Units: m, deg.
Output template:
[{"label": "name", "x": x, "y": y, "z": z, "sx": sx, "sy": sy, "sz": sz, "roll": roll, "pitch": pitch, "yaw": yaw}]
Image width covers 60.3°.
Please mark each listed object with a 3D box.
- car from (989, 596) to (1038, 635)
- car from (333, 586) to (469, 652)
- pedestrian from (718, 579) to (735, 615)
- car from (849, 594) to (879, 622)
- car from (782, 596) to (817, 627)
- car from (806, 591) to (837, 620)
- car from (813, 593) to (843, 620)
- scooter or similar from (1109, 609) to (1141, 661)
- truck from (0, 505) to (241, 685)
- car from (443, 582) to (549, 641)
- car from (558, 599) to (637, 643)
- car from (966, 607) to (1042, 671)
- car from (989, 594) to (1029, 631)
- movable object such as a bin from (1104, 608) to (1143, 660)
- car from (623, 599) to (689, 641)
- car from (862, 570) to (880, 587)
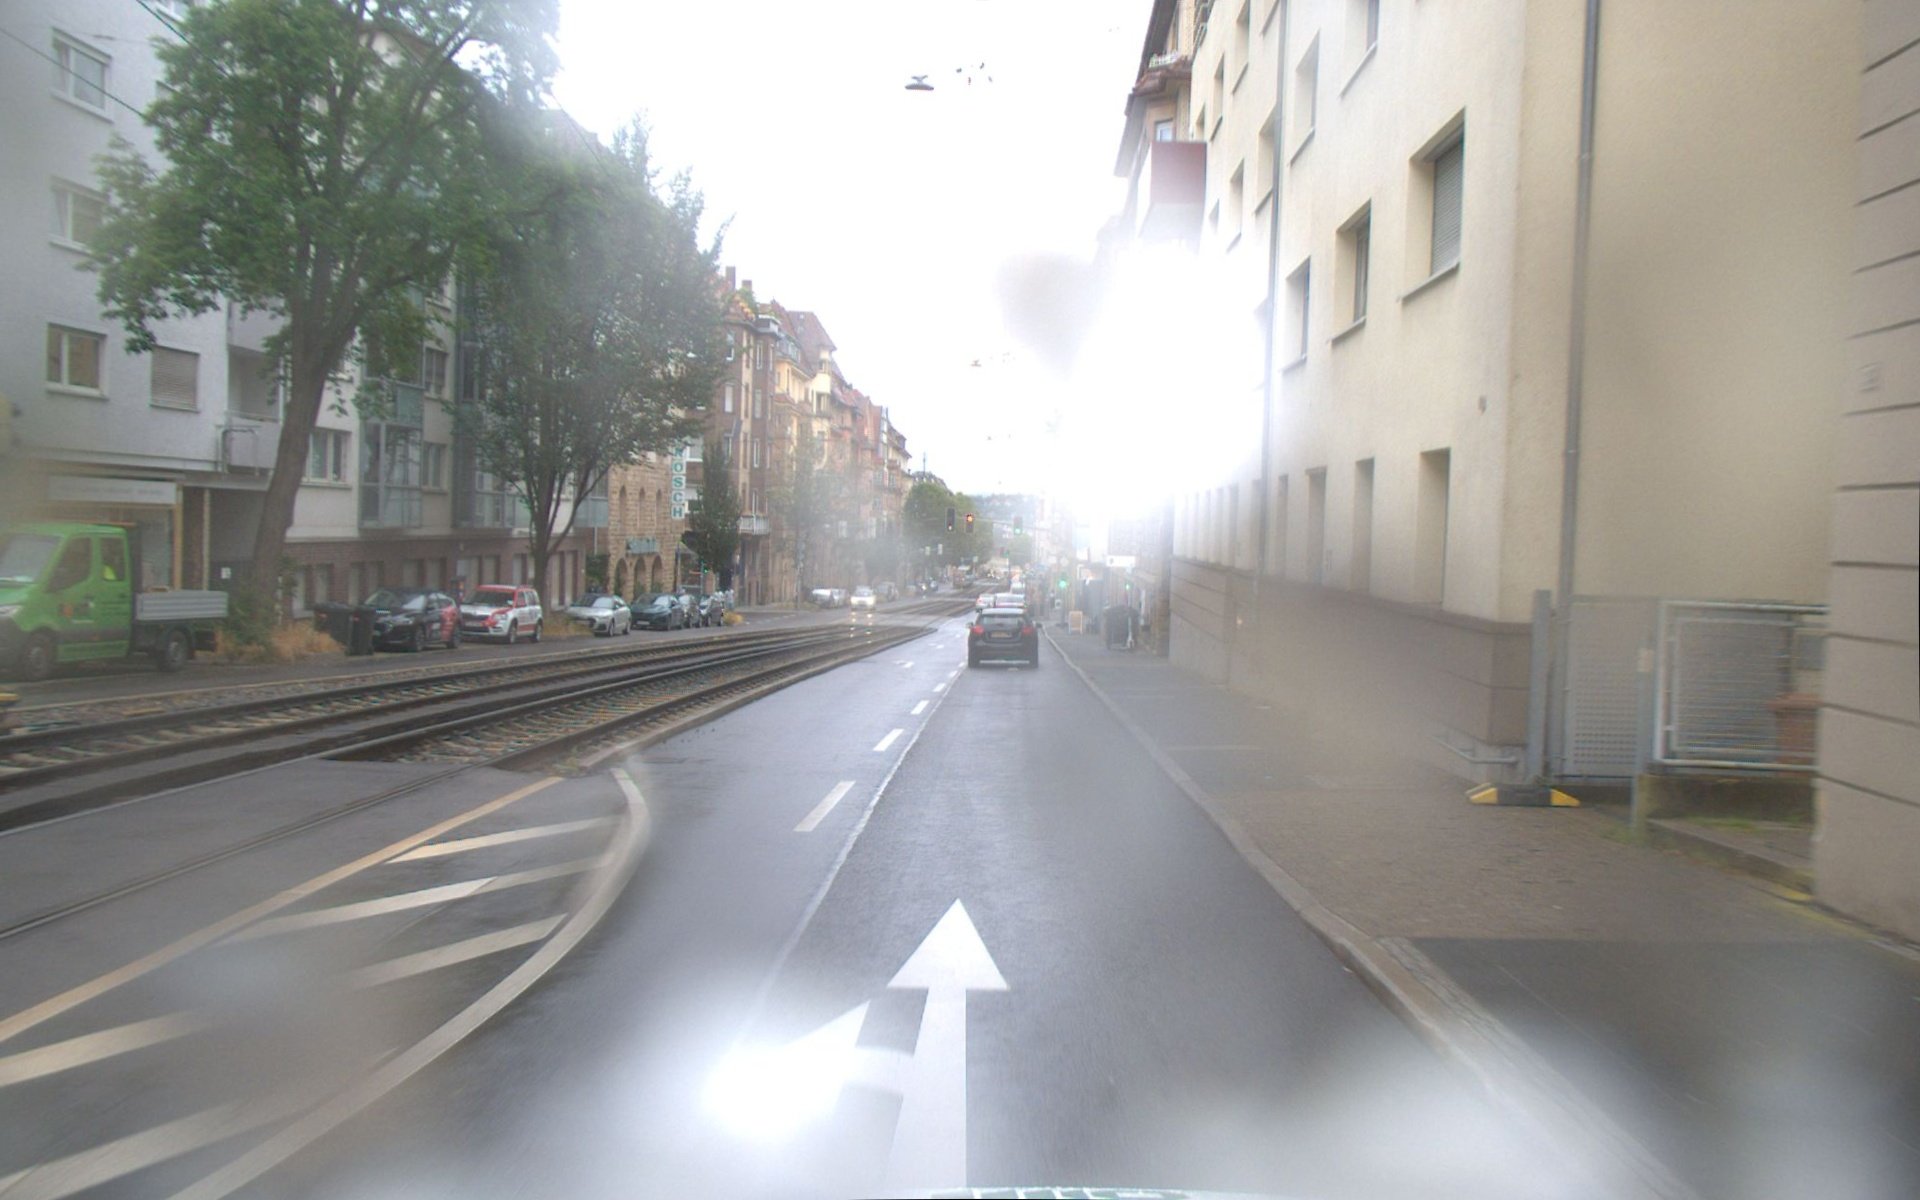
[{"label": "car", "x": 2.137, "y": 0.639, "z": 67.210, "sx": 1.814, "sy": 1.499, "sz": 3.999, "roll": 2, "pitch": -1, "yaw": 0}, {"label": "car", "x": -13.277, "y": 0.466, "z": 39.531, "sx": 1.736, "sy": 1.479, "sz": 4.255, "roll": 0, "pitch": -1, "yaw": 1}, {"label": "pedestrian", "x": -13.387, "y": -0.157, "z": 94.858, "sx": 0.854, "sy": 2.049, "sz": 0.704, "roll": 0, "pitch": -1, "yaw": 0}, {"label": "car", "x": -7.190, "y": 0.595, "z": 124.081, "sx": 1.953, "sy": 2.049, "sz": 4.346, "roll": 1, "pitch": 0, "yaw": 0}, {"label": "car", "x": -10.930, "y": 0.798, "z": 113.057, "sx": 1.952, "sy": 2.049, "sz": 4.346, "roll": 0, "pitch": -1, "yaw": 0}, {"label": "car", "x": -10.303, "y": 0.426, "z": 123.084, "sx": 1.952, "sy": 2.049, "sz": 4.346, "roll": 0, "pitch": -1, "yaw": 0}, {"label": "car", "x": -10.179, "y": 0.530, "z": 128.126, "sx": 1.952, "sy": 2.049, "sz": 4.346, "roll": 0, "pitch": -1, "yaw": 0}, {"label": "scooter or similar", "x": 5.311, "y": 1.122, "z": 53.312, "sx": 0.900, "sy": 1.632, "sz": 0.862, "roll": 1, "pitch": 0, "yaw": -3}, {"label": "truck", "x": -13.771, "y": -0.040, "z": 25.621, "sx": 2.008, "sy": 2.435, "sz": 6.324, "roll": 1, "pitch": -1, "yaw": 5}, {"label": "car", "x": -13.060, "y": 0.319, "z": 46.778, "sx": 1.736, "sy": 1.573, "sz": 4.255, "roll": 0, "pitch": 0, "yaw": 1}, {"label": "car", "x": -12.704, "y": 0.744, "z": 58.207, "sx": 1.736, "sy": 1.514, "sz": 4.256, "roll": 0, "pitch": -1, "yaw": 2}, {"label": "car", "x": 1.078, "y": 0.946, "z": 41.922, "sx": 1.814, "sy": 1.499, "sz": 4.000, "roll": 1, "pitch": 0, "yaw": 0}, {"label": "car", "x": 2.569, "y": 0.688, "z": 86.804, "sx": 1.909, "sy": 1.824, "sz": 4.143, "roll": 2, "pitch": -1, "yaw": 0}, {"label": "movable object such as a bin", "x": 5.409, "y": 1.124, "z": 54.819, "sx": 1.144, "sy": 1.684, "sz": 1.309, "roll": 0, "pitch": 0, "yaw": -2}, {"label": "car", "x": -12.255, "y": 0.801, "z": 66.887, "sx": 1.736, "sy": 1.648, "sz": 4.256, "roll": 0, "pitch": 0, "yaw": 2}, {"label": "car", "x": -11.197, "y": -2.722, "z": 207.657, "sx": 1.953, "sy": 2.049, "sz": 4.000, "roll": 1, "pitch": 0, "yaw": 0}]
